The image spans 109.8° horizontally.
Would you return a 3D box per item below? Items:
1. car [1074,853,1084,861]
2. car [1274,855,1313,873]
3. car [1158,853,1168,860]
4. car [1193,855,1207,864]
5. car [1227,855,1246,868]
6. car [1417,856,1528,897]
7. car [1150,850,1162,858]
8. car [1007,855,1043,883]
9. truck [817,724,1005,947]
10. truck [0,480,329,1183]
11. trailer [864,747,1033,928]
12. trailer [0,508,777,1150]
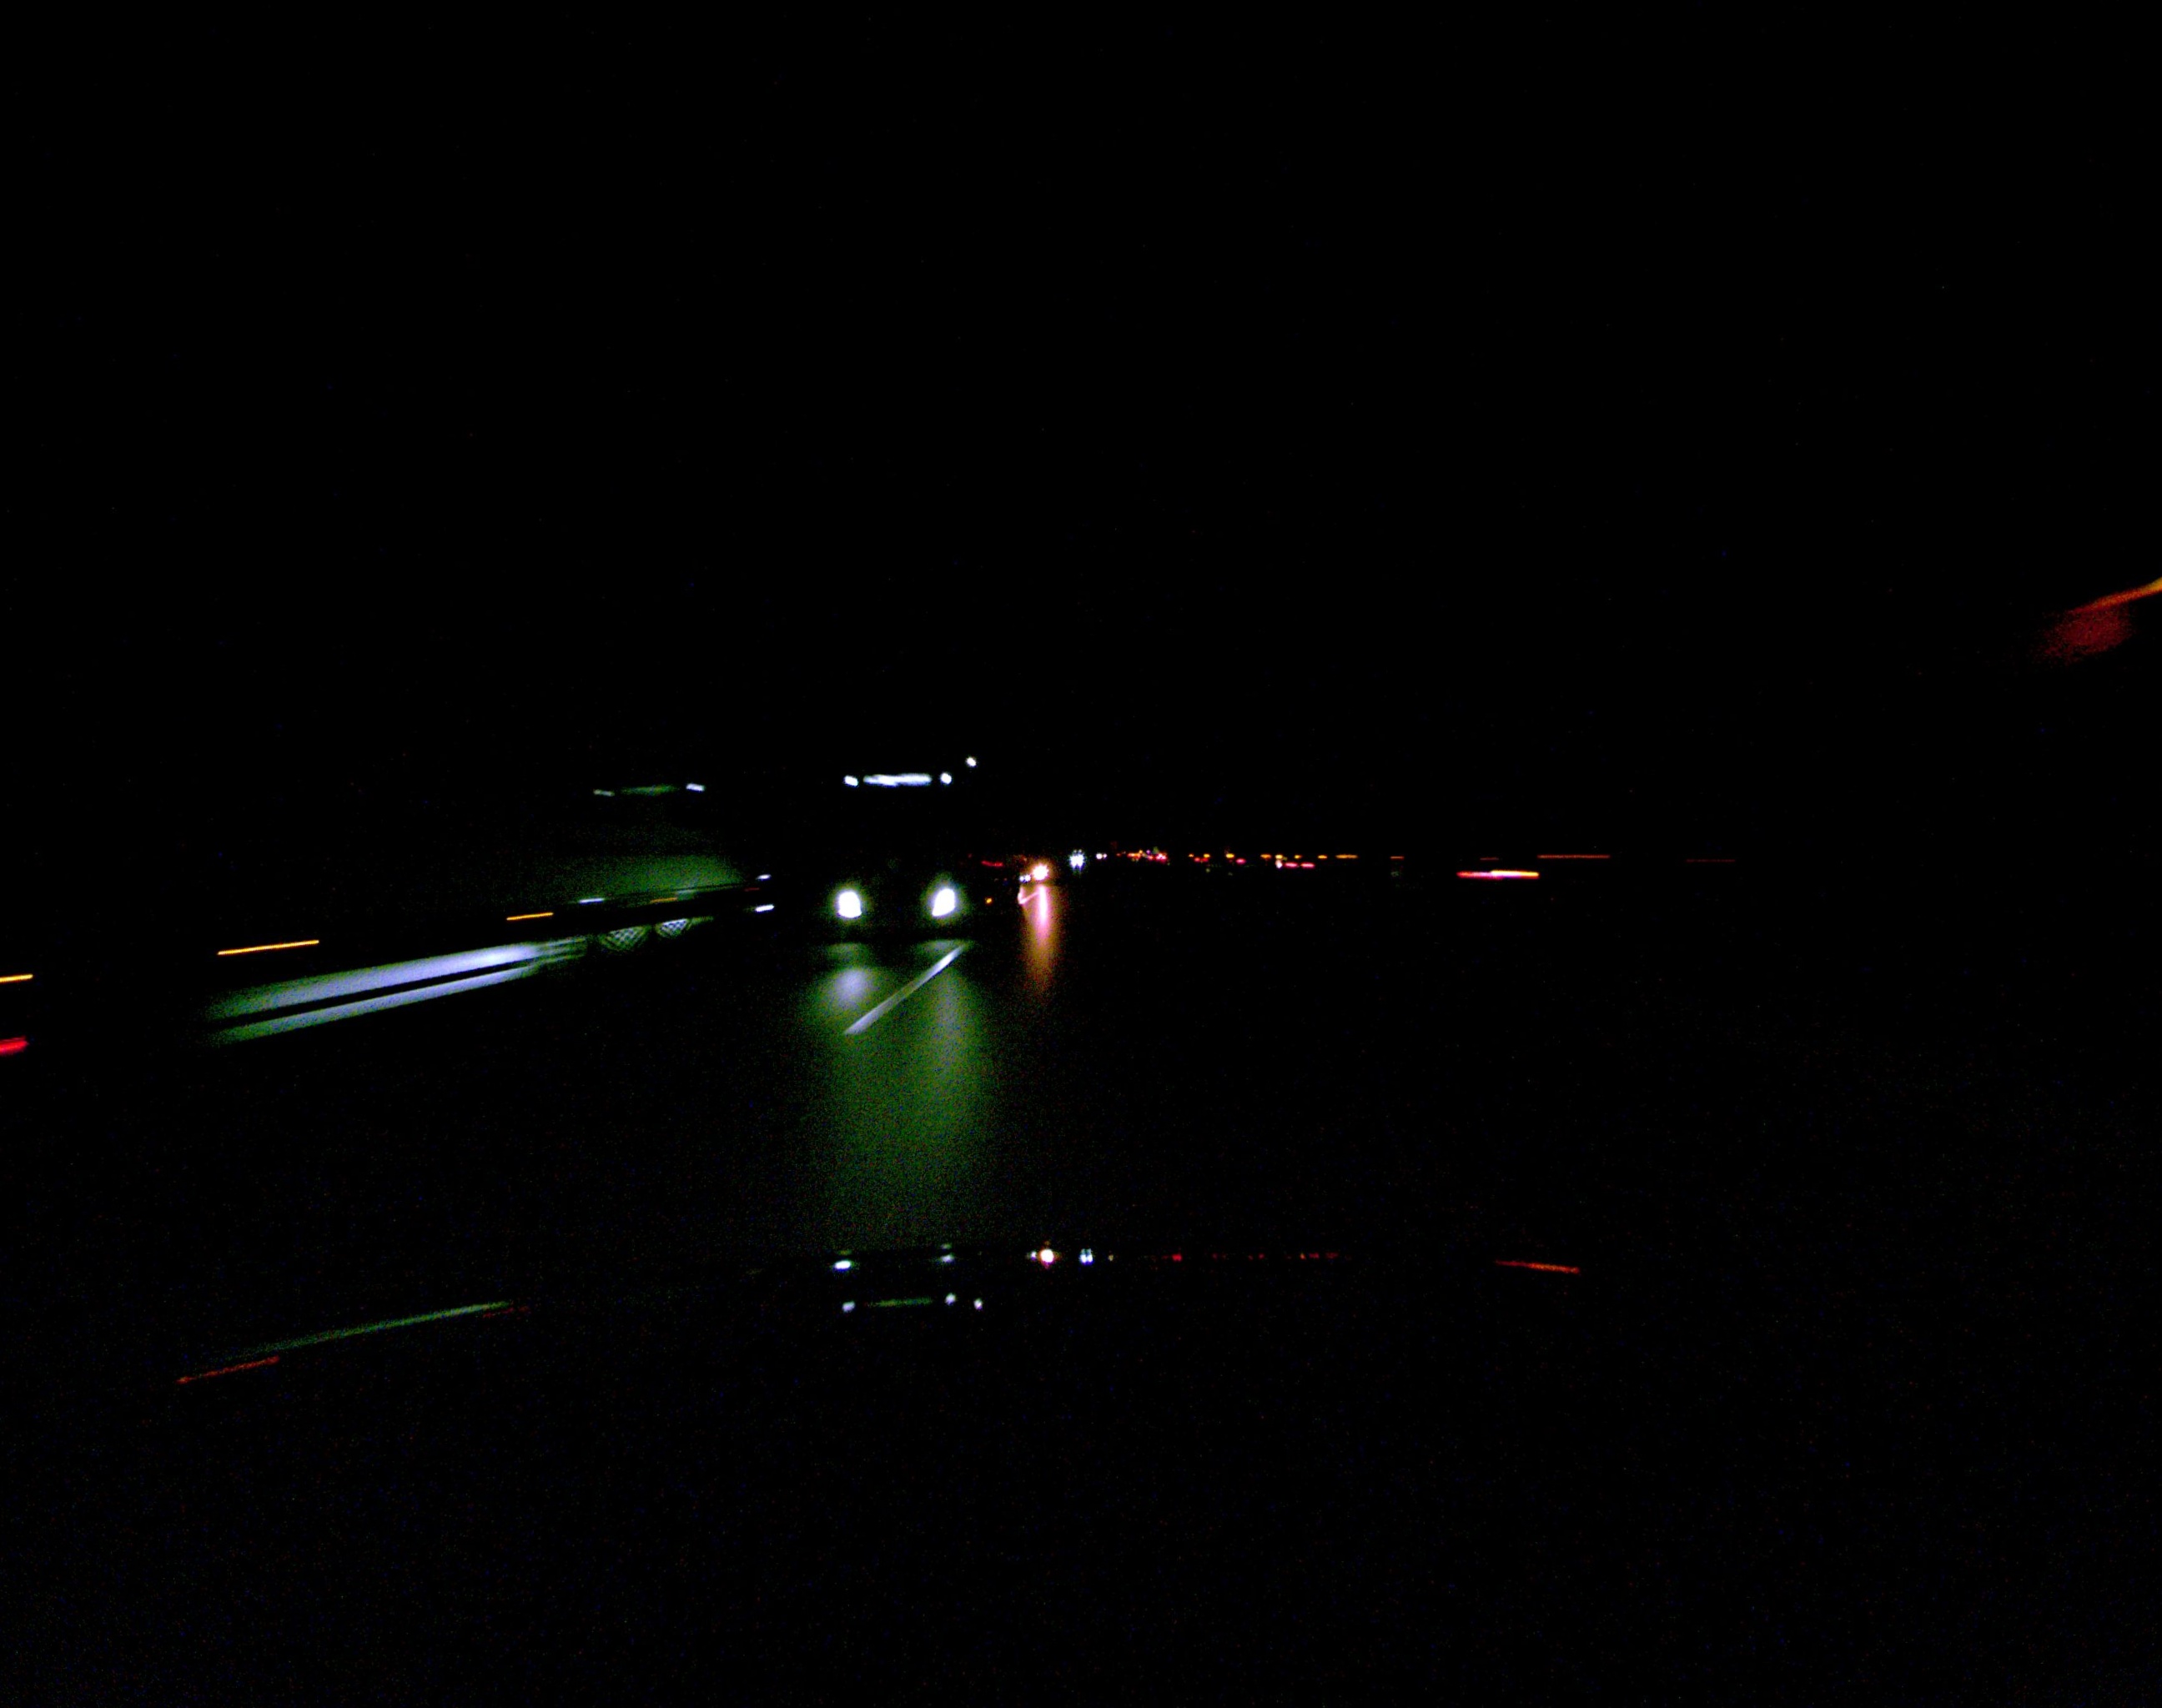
[{"bbox_3d":[-0.437,0.740,181.844,2.267,1.842,5.403,-3,0,0],"label":"car"},{"bbox_3d":[16.190,0.725,58.040,1.666,1.326,4.809,0,0,1],"label":"car"},{"bbox_3d":[18.615,0.582,173.153,1.754,1.470,4.942,0,0,1],"label":"car"},{"bbox_3d":[19.984,0.877,127.980,1.754,1.470,4.482,0,0,2],"label":"car"},{"bbox_3d":[19.521,0.937,95.368,1.754,1.470,4.727,0,0,5],"label":"car"},{"bbox_3d":[14.661,0.799,28.779,1.635,1.386,4.877,0,0,0],"label":"car"},{"bbox_3d":[14.203,-0.096,143.897,1.754,1.470,4.763,0,0,1],"label":"car"},{"bbox_3d":[-3.233,0.854,44.626,1.826,1.458,4.246,-3,0,-2],"label":"car"},{"bbox_3d":[-3.612,-0.369,18.042,2.668,4.182,6.722,-3,0,1],"label":"truck"},{"bbox_3d":[-7.539,-0.087,2.299,2.597,4.049,7.673,-3,0,1],"label":"truck"},{"bbox_3d":[-3.574,-0.424,24.815,2.749,4.182,13.509,-3,0,1],"label":"trailer"},{"bbox_3d":[-7.418,-0.128,9.852,2.597,4.049,10.008,-3,0,1],"label":"trailer"}]
